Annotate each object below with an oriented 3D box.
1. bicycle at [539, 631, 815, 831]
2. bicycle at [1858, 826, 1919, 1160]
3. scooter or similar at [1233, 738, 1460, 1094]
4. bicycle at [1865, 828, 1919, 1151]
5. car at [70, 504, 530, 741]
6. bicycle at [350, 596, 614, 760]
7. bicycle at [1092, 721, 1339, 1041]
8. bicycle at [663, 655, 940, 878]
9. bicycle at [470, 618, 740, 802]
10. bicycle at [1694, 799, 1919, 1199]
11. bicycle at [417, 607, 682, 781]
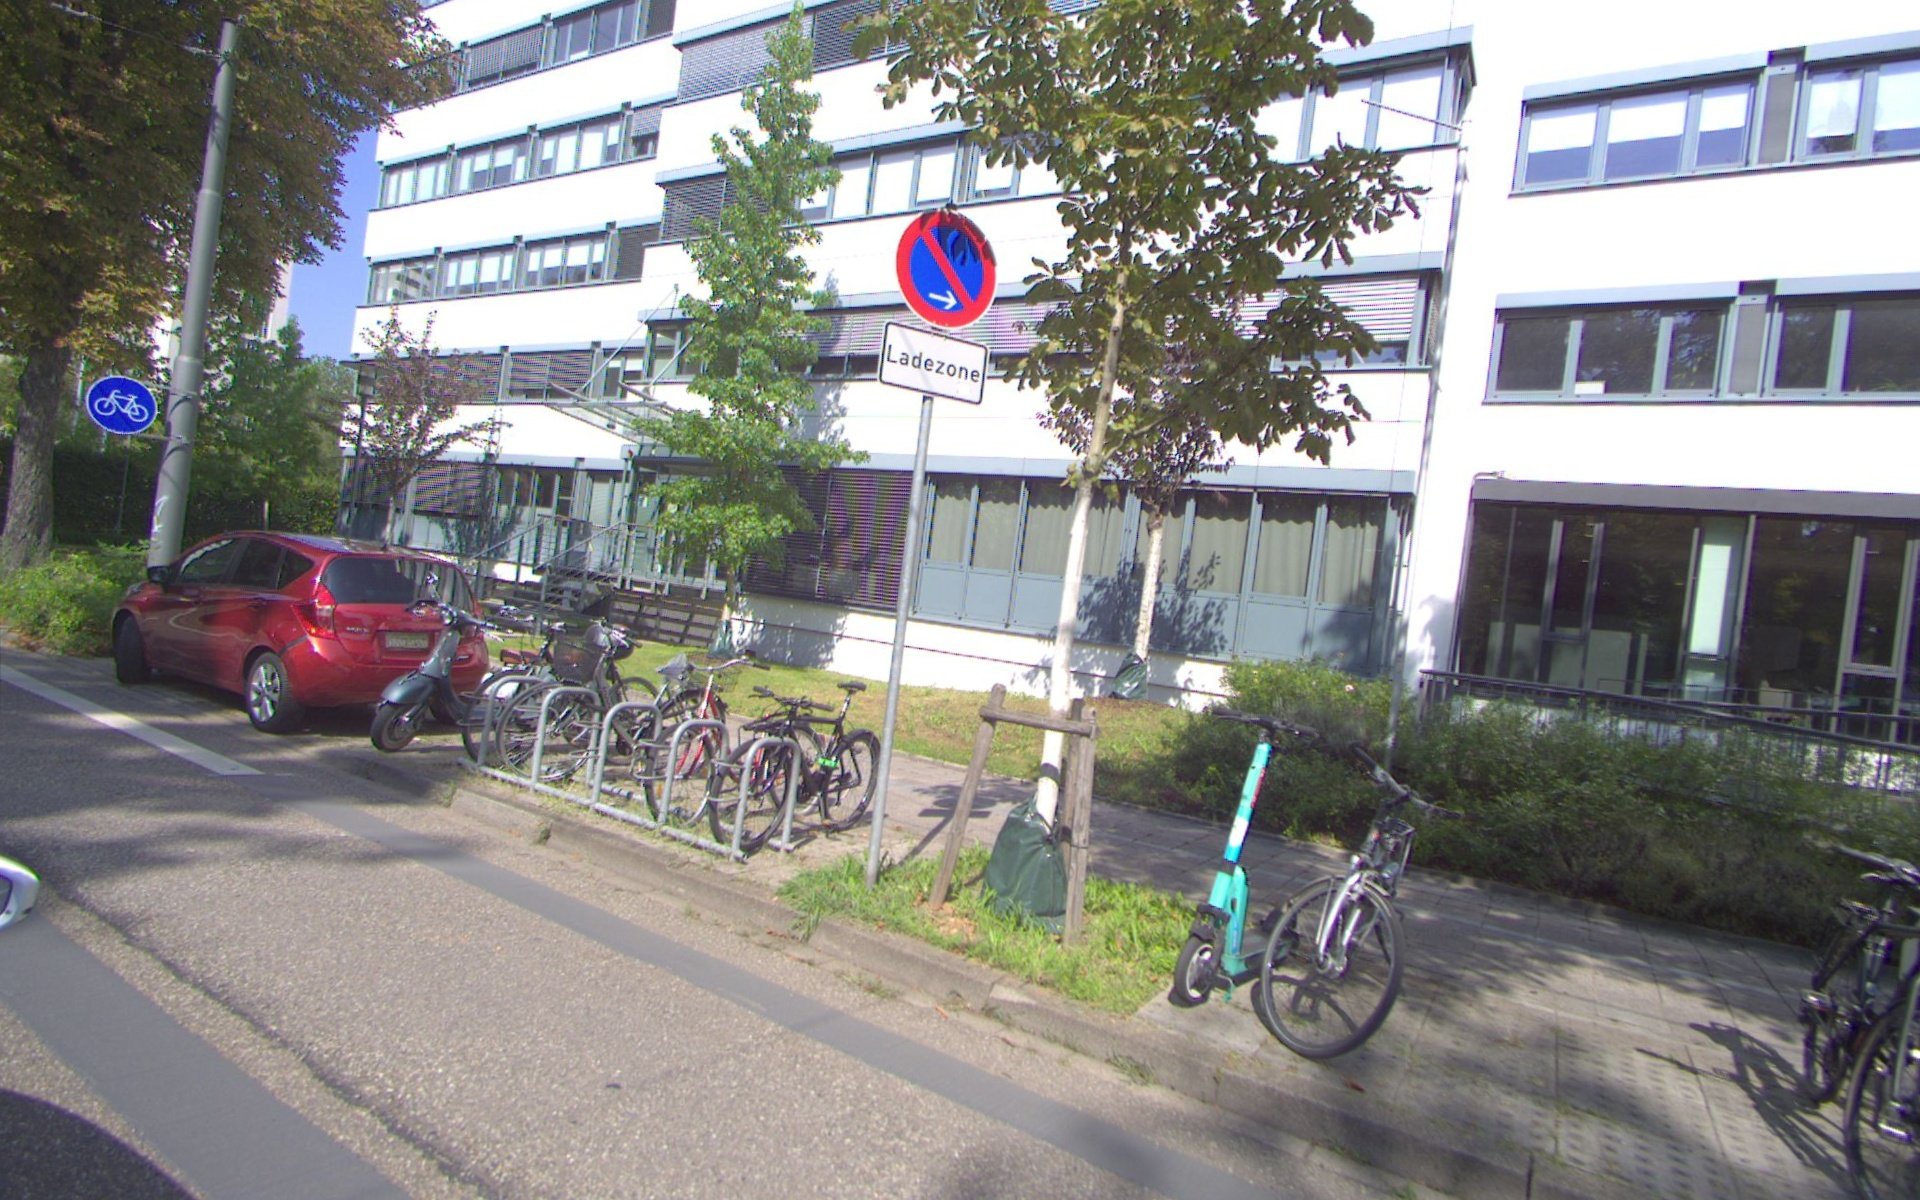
[{"bbox_3d":[-1.782,0.816,6.635,0.531,1.085,1.773,7,0,31],"label":"bicycle"},{"bbox_3d":[3.653,1.460,3.362,0.531,1.085,1.773,7,0,31],"label":"bicycle"},{"bbox_3d":[1.772,1.236,4.435,0.531,1.085,1.773,7,0,31],"label":"scooter or similar"},{"bbox_3d":[3.665,1.461,3.342,0.531,1.085,1.773,7,0,31],"label":"bicycle"},{"bbox_3d":[-5.993,0.122,9.004,4.204,1.480,1.758,7,0,32],"label":"car"},{"bbox_3d":[-3.642,0.598,7.833,0.531,1.085,1.773,7,0,31],"label":"bicycle"},{"bbox_3d":[1.276,1.177,4.725,0.531,1.085,1.773,7,0,31],"label":"bicycle"},{"bbox_3d":[-0.871,0.923,6.058,0.531,1.085,1.773,7,0,31],"label":"bicycle"},{"bbox_3d":[-2.427,0.742,7.103,0.531,1.085,1.773,7,0,31],"label":"bicycle"},{"bbox_3d":[3.152,1.400,3.629,0.531,1.085,1.773,7,0,31],"label":"bicycle"},{"bbox_3d":[-2.970,0.679,7.480,0.531,1.085,1.773,7,0,31],"label":"bicycle"}]
